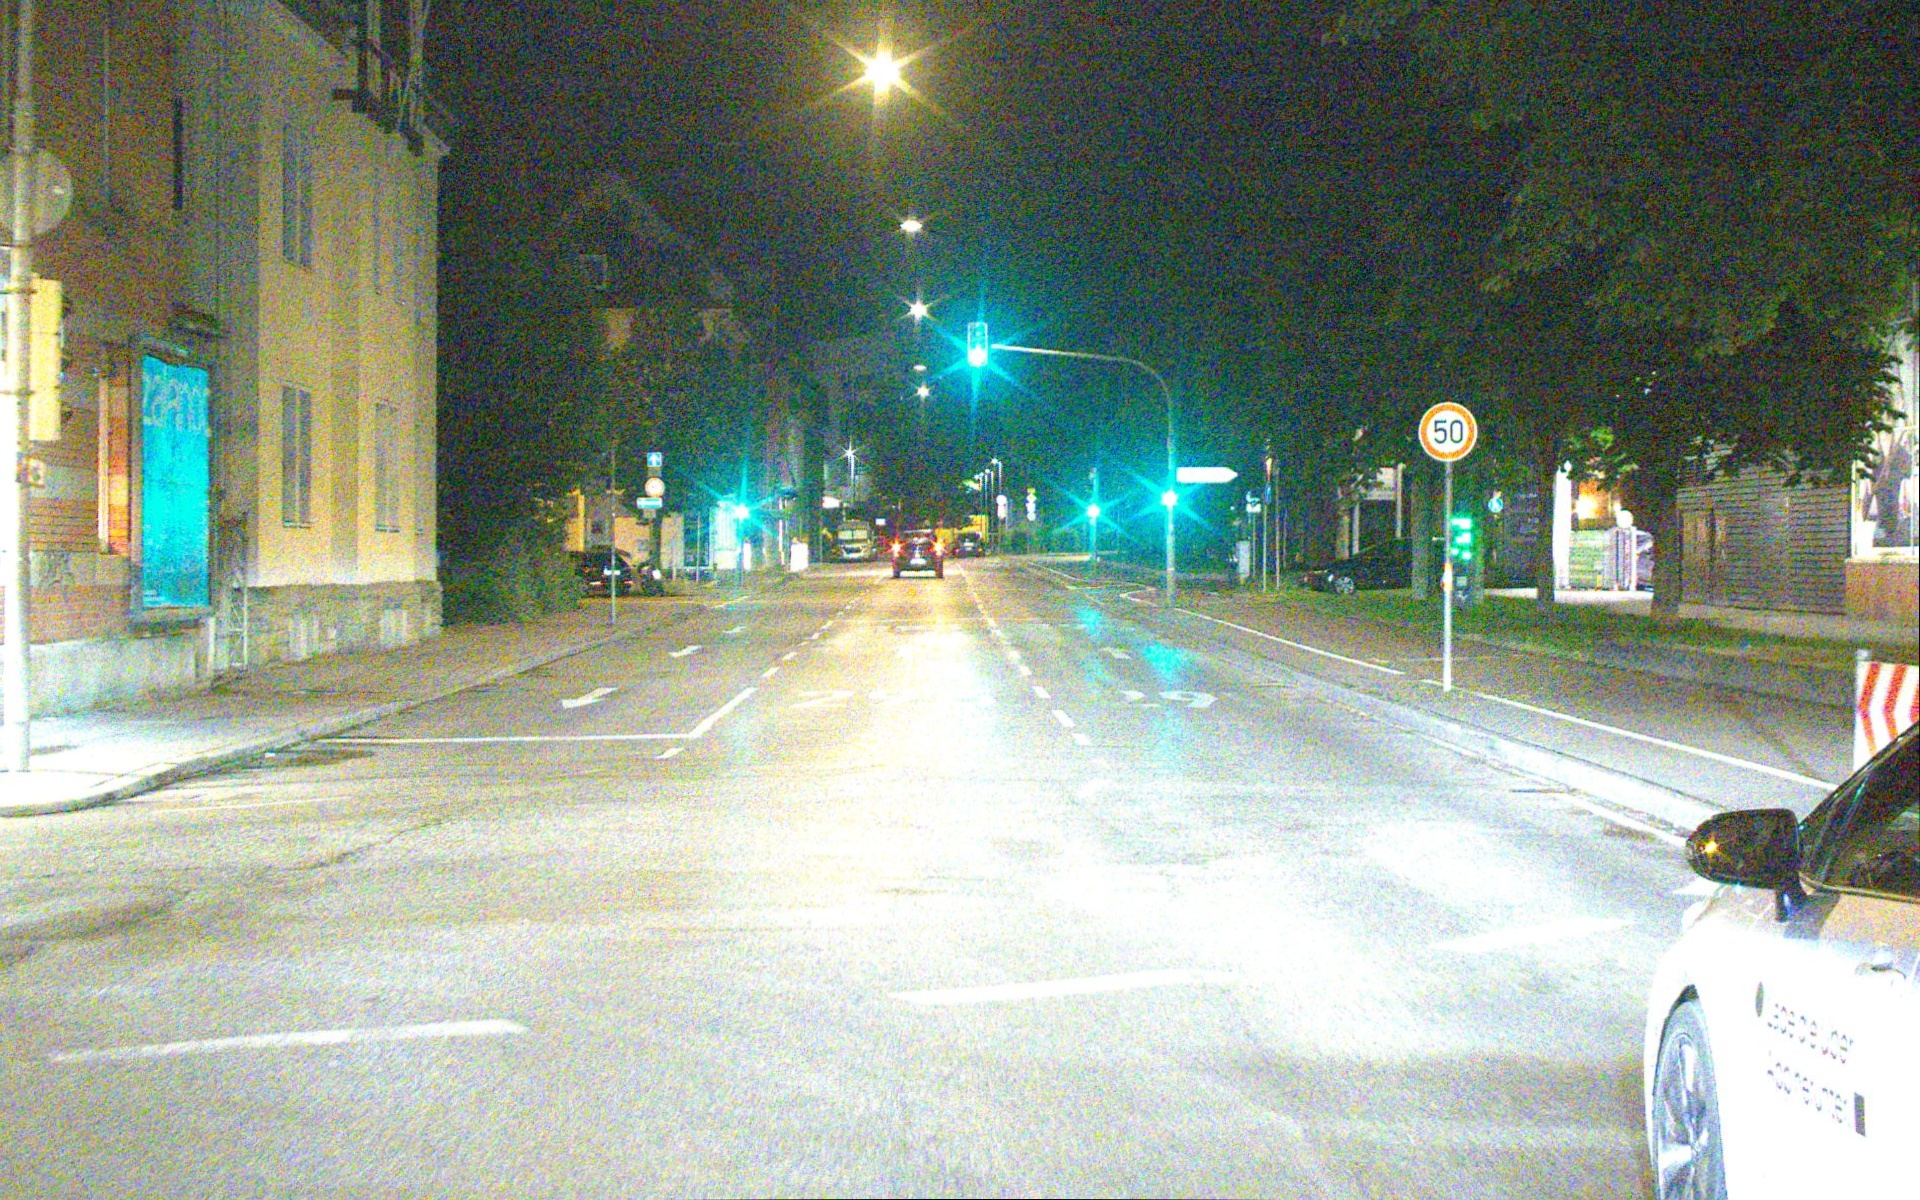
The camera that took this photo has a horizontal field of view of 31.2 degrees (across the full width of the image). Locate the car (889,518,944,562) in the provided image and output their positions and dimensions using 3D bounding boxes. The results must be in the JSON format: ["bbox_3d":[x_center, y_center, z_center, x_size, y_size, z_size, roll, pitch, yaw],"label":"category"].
[{"bbox_3d":[-1.658,-2.261,129.849,1.993,1.634,4.000,0,1,-2],"label":"car"}]

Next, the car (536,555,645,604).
[{"bbox_3d":[-11.631,-0.663,108.052,1.803,1.481,4.000,-1,1,-32],"label":"car"}]

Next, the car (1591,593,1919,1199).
[{"bbox_3d":[2.328,0.759,5.434,1.729,1.430,4.211,2,1,-2],"label":"car"}]

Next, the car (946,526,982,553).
[{"bbox_3d":[0.261,-3.761,213.505,1.993,1.590,4.001,-1,1,-3],"label":"car"}]

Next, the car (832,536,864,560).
[{"bbox_3d":[-6.495,-3.015,198.907,1.777,1.385,4.001,-1,1,-2],"label":"car"}]

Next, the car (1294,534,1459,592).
[{"bbox_3d":[10.447,-0.937,86.392,3.987,1.382,1.771,-1,1,3],"label":"car"}]

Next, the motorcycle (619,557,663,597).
[{"bbox_3d":[-9.778,-0.706,105.274,0.781,1.200,2.450,-1,1,-19],"label":"motorcycle"}]
